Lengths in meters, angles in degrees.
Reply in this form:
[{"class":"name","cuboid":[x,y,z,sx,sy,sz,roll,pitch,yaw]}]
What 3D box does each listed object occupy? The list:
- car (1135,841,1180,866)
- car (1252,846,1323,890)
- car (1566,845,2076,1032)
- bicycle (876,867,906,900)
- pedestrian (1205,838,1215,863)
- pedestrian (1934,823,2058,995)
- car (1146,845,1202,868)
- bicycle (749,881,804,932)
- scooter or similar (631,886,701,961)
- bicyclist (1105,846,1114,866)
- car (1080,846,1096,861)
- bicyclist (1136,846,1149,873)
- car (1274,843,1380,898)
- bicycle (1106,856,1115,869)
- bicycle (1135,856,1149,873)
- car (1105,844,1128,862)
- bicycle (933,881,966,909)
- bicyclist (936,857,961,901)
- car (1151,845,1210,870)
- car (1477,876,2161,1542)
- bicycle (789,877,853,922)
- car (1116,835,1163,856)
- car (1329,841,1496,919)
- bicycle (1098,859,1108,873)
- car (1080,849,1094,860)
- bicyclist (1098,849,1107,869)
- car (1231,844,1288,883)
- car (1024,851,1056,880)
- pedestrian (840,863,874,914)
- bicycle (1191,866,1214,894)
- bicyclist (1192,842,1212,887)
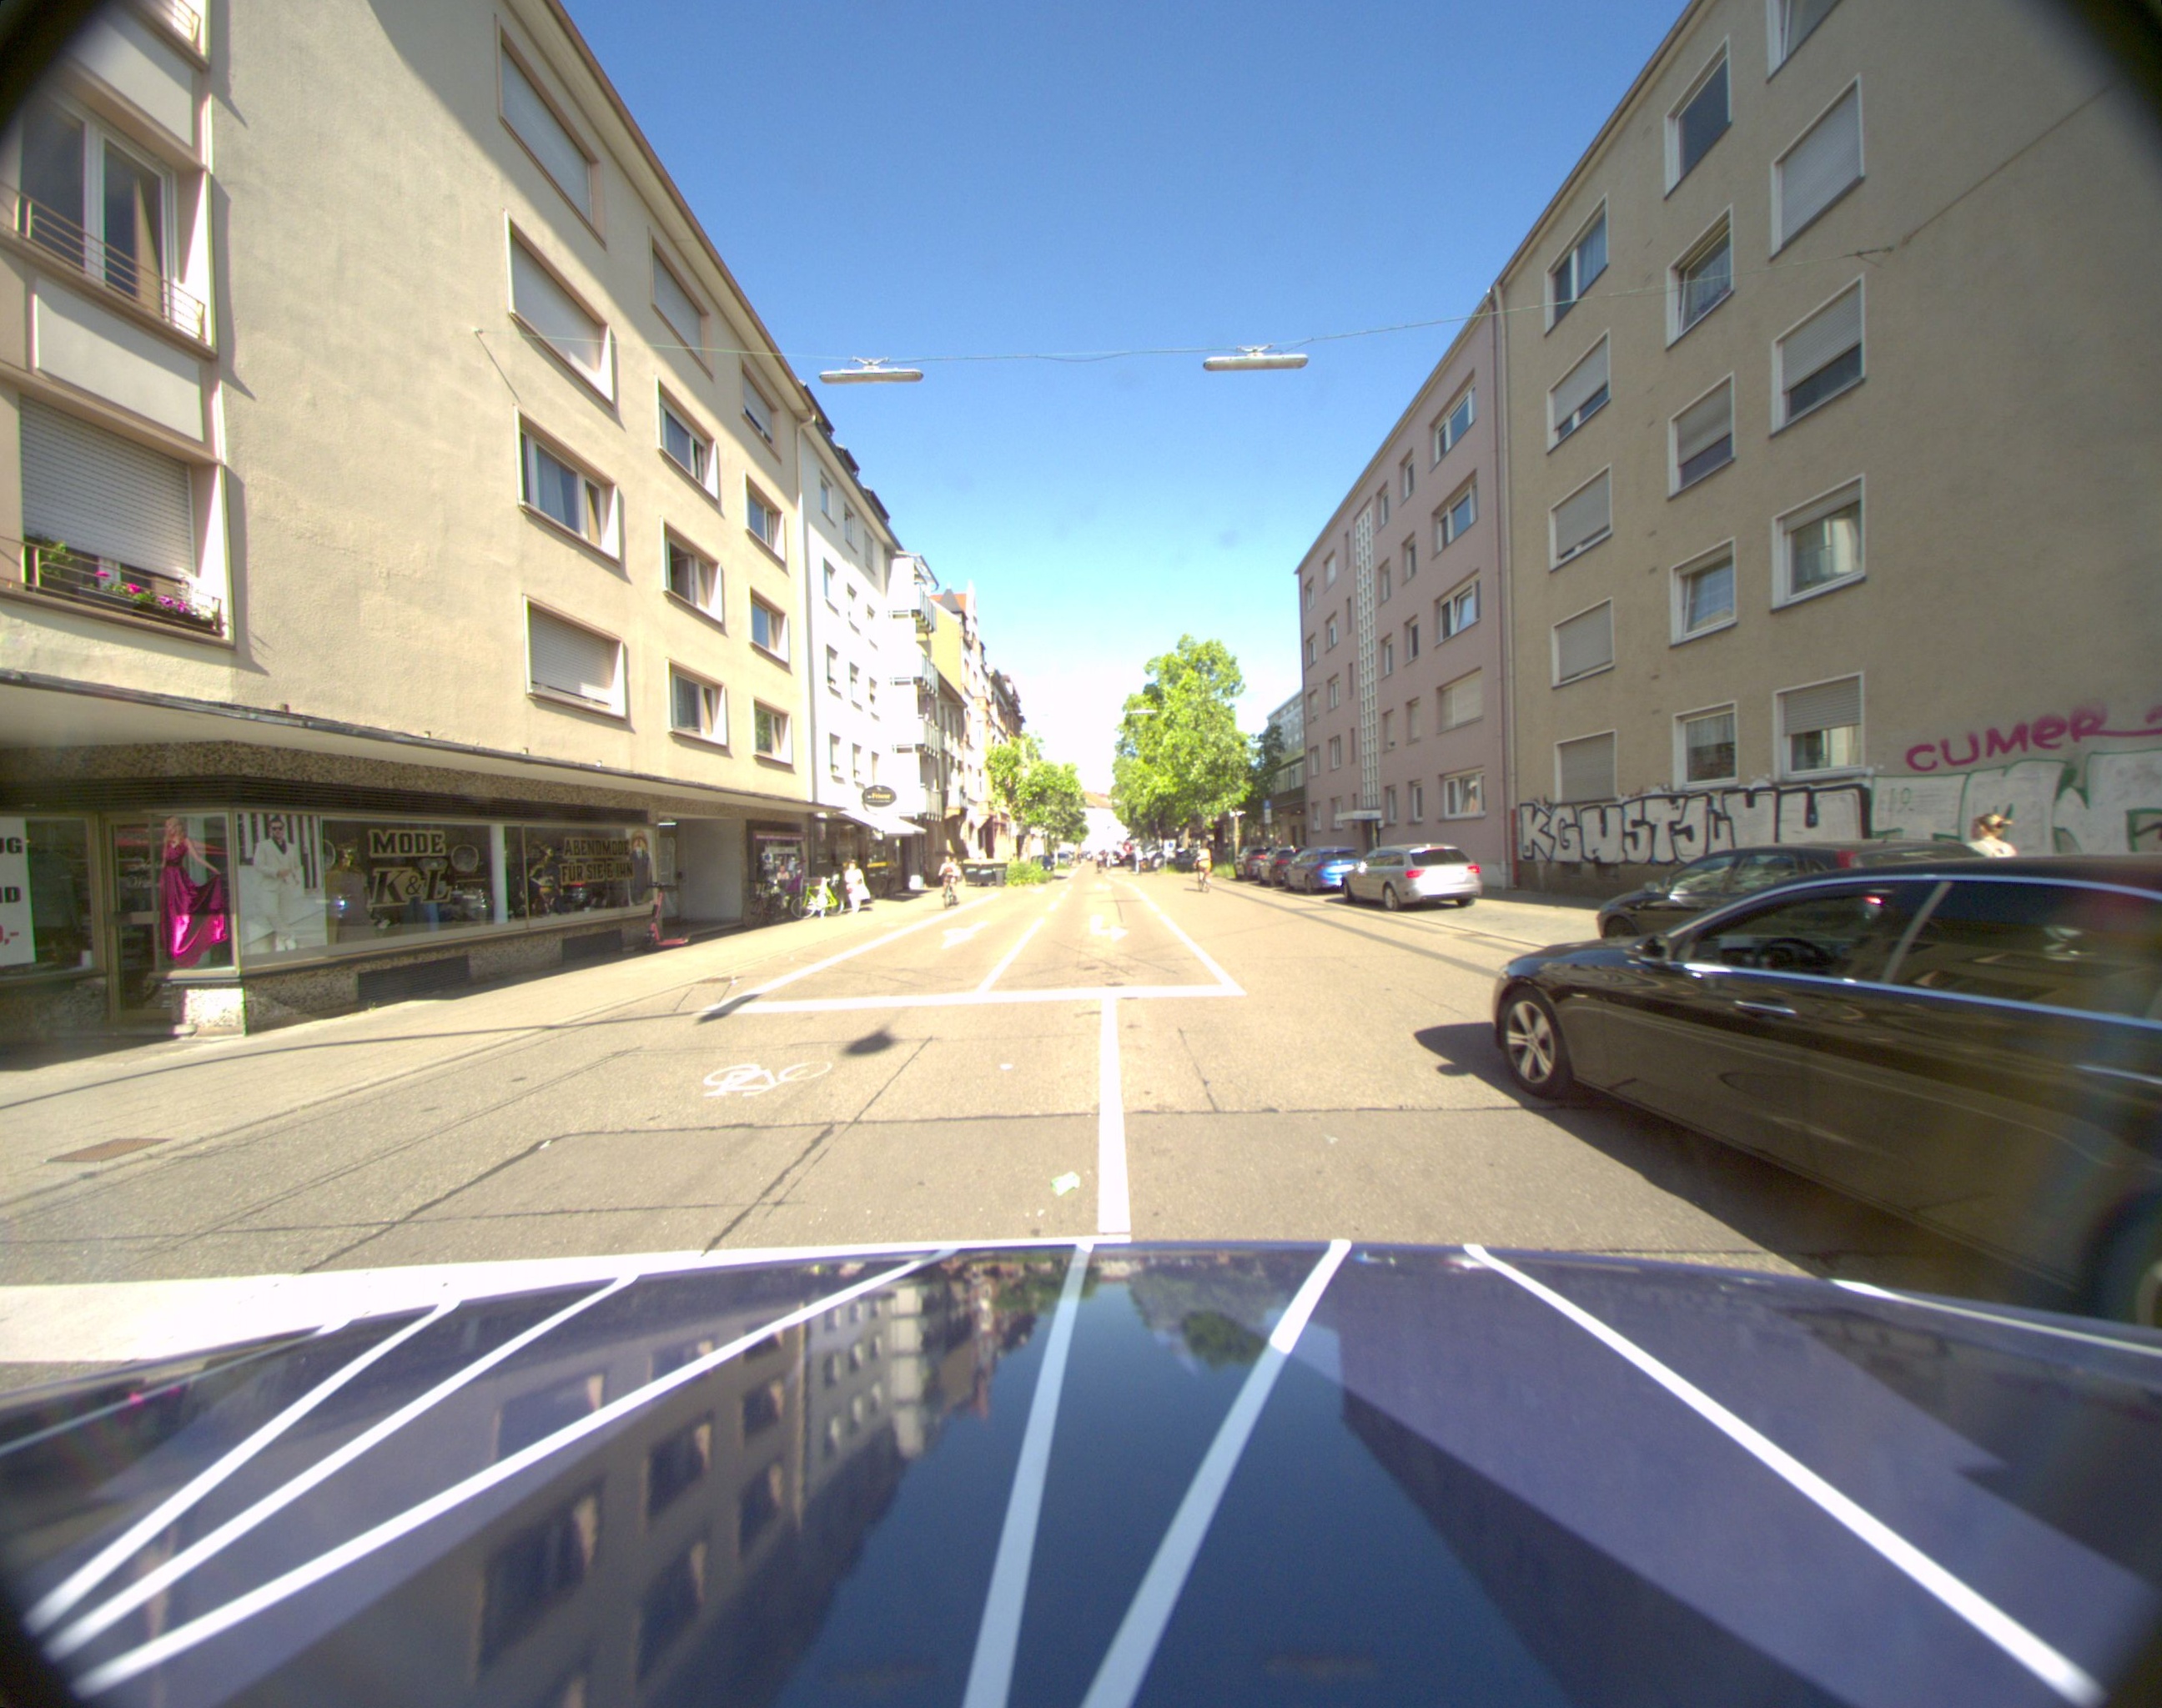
[{"class":"car","cuboid":[6.796,-0.067,67.719,3.875,2.031,1.913,-2,1,3]},{"class":"car","cuboid":[7.940,0.476,29.549,1.727,1.459,4.158,-4,1,3]},{"class":"car","cuboid":[7.346,0.682,8.202,1.695,1.440,3.856,-4,1,0]},{"class":"bicycle","cuboid":[-7.133,1.104,28.589,0.598,1.137,1.774,1,1,2]},{"class":"pedestrian","cuboid":[9.352,-0.275,55.057,0.623,1.796,0.502,-2,1,2]},{"class":"pedestrian","cuboid":[8.700,0.504,7.247,0.532,1.572,0.563,-2,1,18]},{"class":"car","cuboid":[6.946,0.165,57.002,3.996,1.543,1.913,-2,1,4]},{"class":"bicycle","cuboid":[-7.353,1.243,18.432,0.407,1.078,1.801,1,1,7]},{"class":"scooter or similar","cuboid":[-7.466,1.223,13.721,0.527,1.218,1.228,-2,1,1]},{"class":"bicyclist","cuboid":[2.291,0.156,60.390,0.681,1.567,0.899,0,1,1]},{"class":"car","cuboid":[0.816,-0.025,84.783,1.627,1.587,3.547,-2,1,1]},{"class":"bicyclist","cuboid":[3.844,0.339,47.437,0.681,1.621,0.899,-2,1,1]},{"class":"car","cuboid":[7.876,0.479,24.797,1.828,1.494,4.801,-4,1,0]},{"class":"bicycle","cuboid":[2.316,0.658,60.397,0.681,0.946,1.933,0,1,1]},{"class":"bicycle","cuboid":[3.795,0.638,47.390,0.681,0.946,1.933,-2,1,2]},{"class":"car","cuboid":[3.196,-0.120,68.279,1.911,1.543,4.000,-2,1,1]},{"class":"bicycle","cuboid":[-4.212,1.303,24.412,0.582,0.801,1.710,-2,1,6]},{"class":"bicyclist","cuboid":[-4.234,0.806,24.357,0.582,1.369,0.665,-2,1,6]},{"class":"car","cuboid":[6.966,0.234,53.514,3.996,1.543,1.913,-2,1,4]},{"class":"car","cuboid":[3.398,0.865,2.622,1.809,1.405,4.425,0,1,1]},{"class":"bicycle","cuboid":[-7.110,1.232,20.784,1.497,1.100,0.722,-2,1,-31]},{"class":"car","cuboid":[7.305,-1.070,95.495,5.560,2.379,1.977,-2,1,-6]},{"class":"car","cuboid":[7.692,0.524,18.222,1.828,1.494,4.801,-4,1,0]},{"class":"bicycle","cuboid":[1.529,0.838,53.351,0.544,0.897,1.826,-2,1,-1]},{"class":"car","cuboid":[0.786,0.048,98.825,1.627,1.270,3.547,-2,1,3]},{"class":"bicyclist","cuboid":[1.512,0.369,53.261,0.544,1.383,0.788,-2,1,0]},{"class":"car","cuboid":[8.133,0.376,34.894,1.727,1.567,4.158,-4,1,3]},{"class":"car","cuboid":[-2.453,0.669,46.291,1.627,1.587,3.546,-2,1,1]},{"class":"pedestrian","cuboid":[-6.551,0.994,22.278,0.775,1.434,0.625,-2,1,-3]},{"class":"bicycle","cuboid":[4.277,0.898,26.886,0.544,0.897,1.826,-2,1,1]},{"class":"bicyclist","cuboid":[4.257,0.360,26.684,0.544,1.512,0.774,-2,1,1]}]
